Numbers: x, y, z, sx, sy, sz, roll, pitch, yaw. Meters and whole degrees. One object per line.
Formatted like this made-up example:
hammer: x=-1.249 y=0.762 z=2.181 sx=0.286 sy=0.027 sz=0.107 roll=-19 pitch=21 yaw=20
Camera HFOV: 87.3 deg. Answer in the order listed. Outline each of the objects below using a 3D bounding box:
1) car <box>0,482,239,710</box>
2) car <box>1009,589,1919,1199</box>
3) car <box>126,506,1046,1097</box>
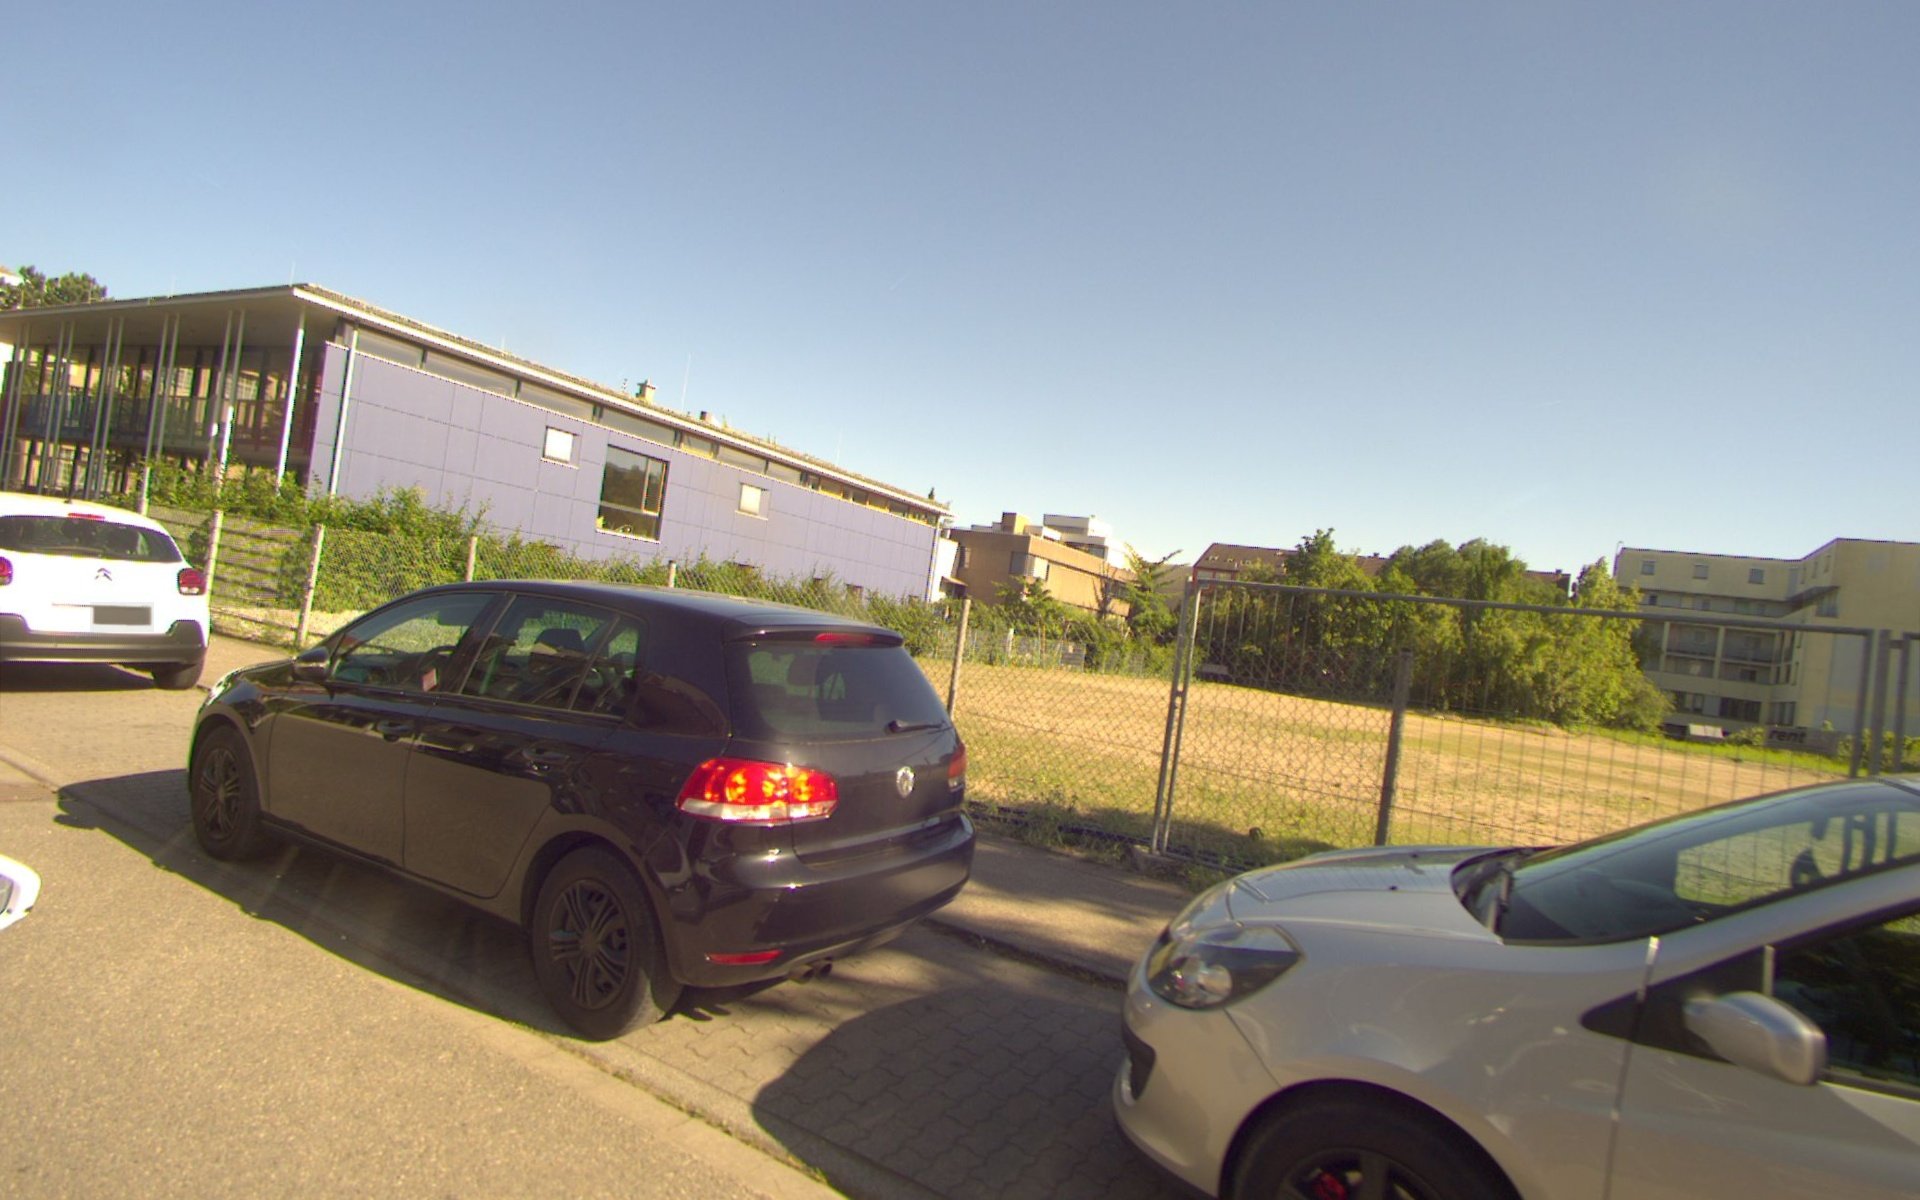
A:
car: x=-8.111 y=-0.182 z=8.580 sx=3.783 sy=1.560 sz=1.683 roll=8 pitch=-1 yaw=31
car: x=2.314 y=1.055 z=2.236 sx=3.933 sy=1.531 sz=1.666 roll=8 pitch=-1 yaw=31
car: x=-1.851 y=0.561 z=4.636 sx=4.009 sy=1.512 sz=1.691 roll=6 pitch=-2 yaw=30
